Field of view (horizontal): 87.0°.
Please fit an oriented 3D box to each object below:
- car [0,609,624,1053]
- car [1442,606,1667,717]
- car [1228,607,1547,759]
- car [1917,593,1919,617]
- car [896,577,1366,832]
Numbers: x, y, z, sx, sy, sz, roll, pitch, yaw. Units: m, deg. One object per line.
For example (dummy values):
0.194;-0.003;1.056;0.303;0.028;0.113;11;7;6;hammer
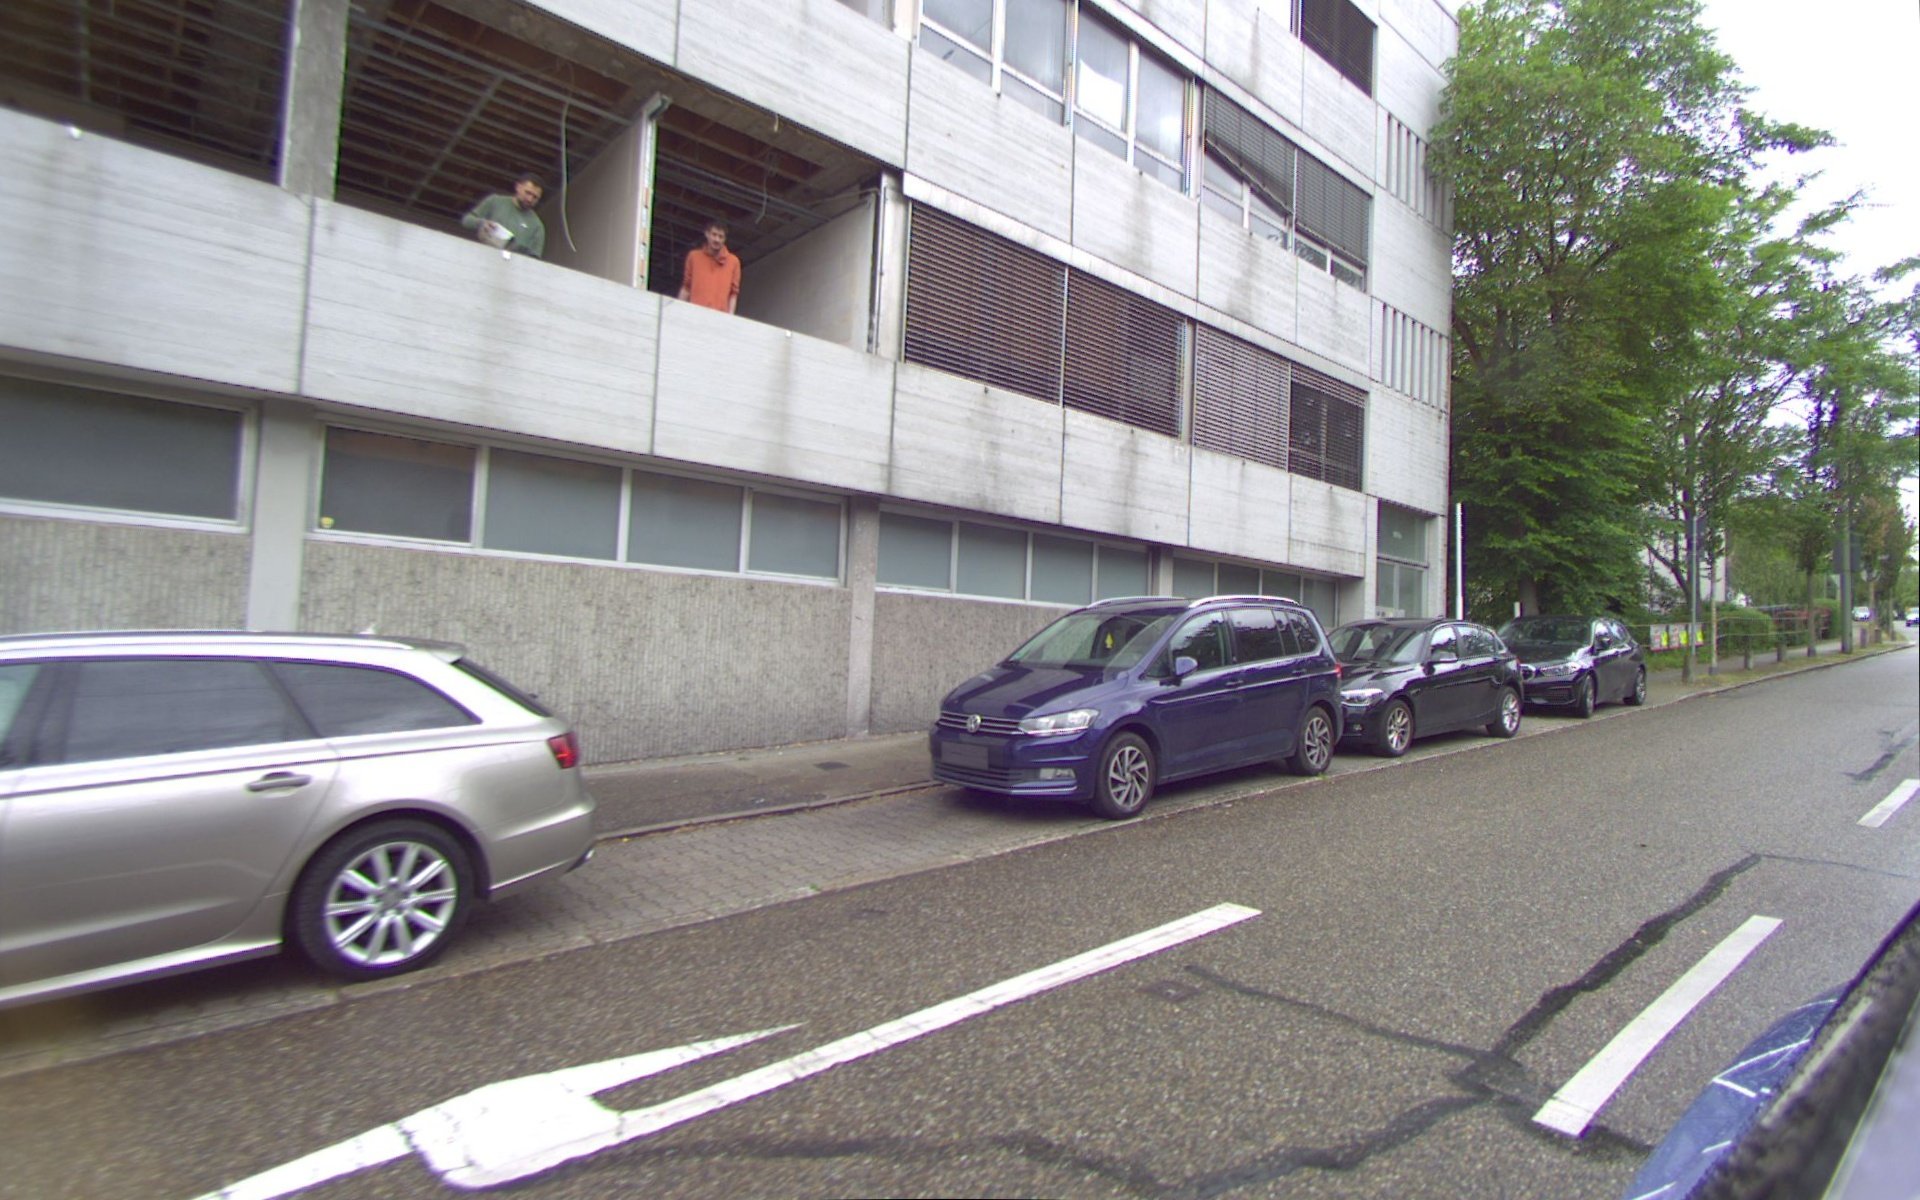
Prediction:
-3.947;0.793;4.002;4.661;1.478;1.816;0;0;-43;car
9.268;0.836;15.647;4.084;1.462;1.841;0;0;-42;car
5.116;0.832;11.898;4.022;1.462;1.711;0;0;-38;car
84.318;0.436;87.514;3.933;2.039;1.995;-1;0;-43;car
1.663;0.693;8.809;4.269;1.696;1.747;0;-1;-41;car
